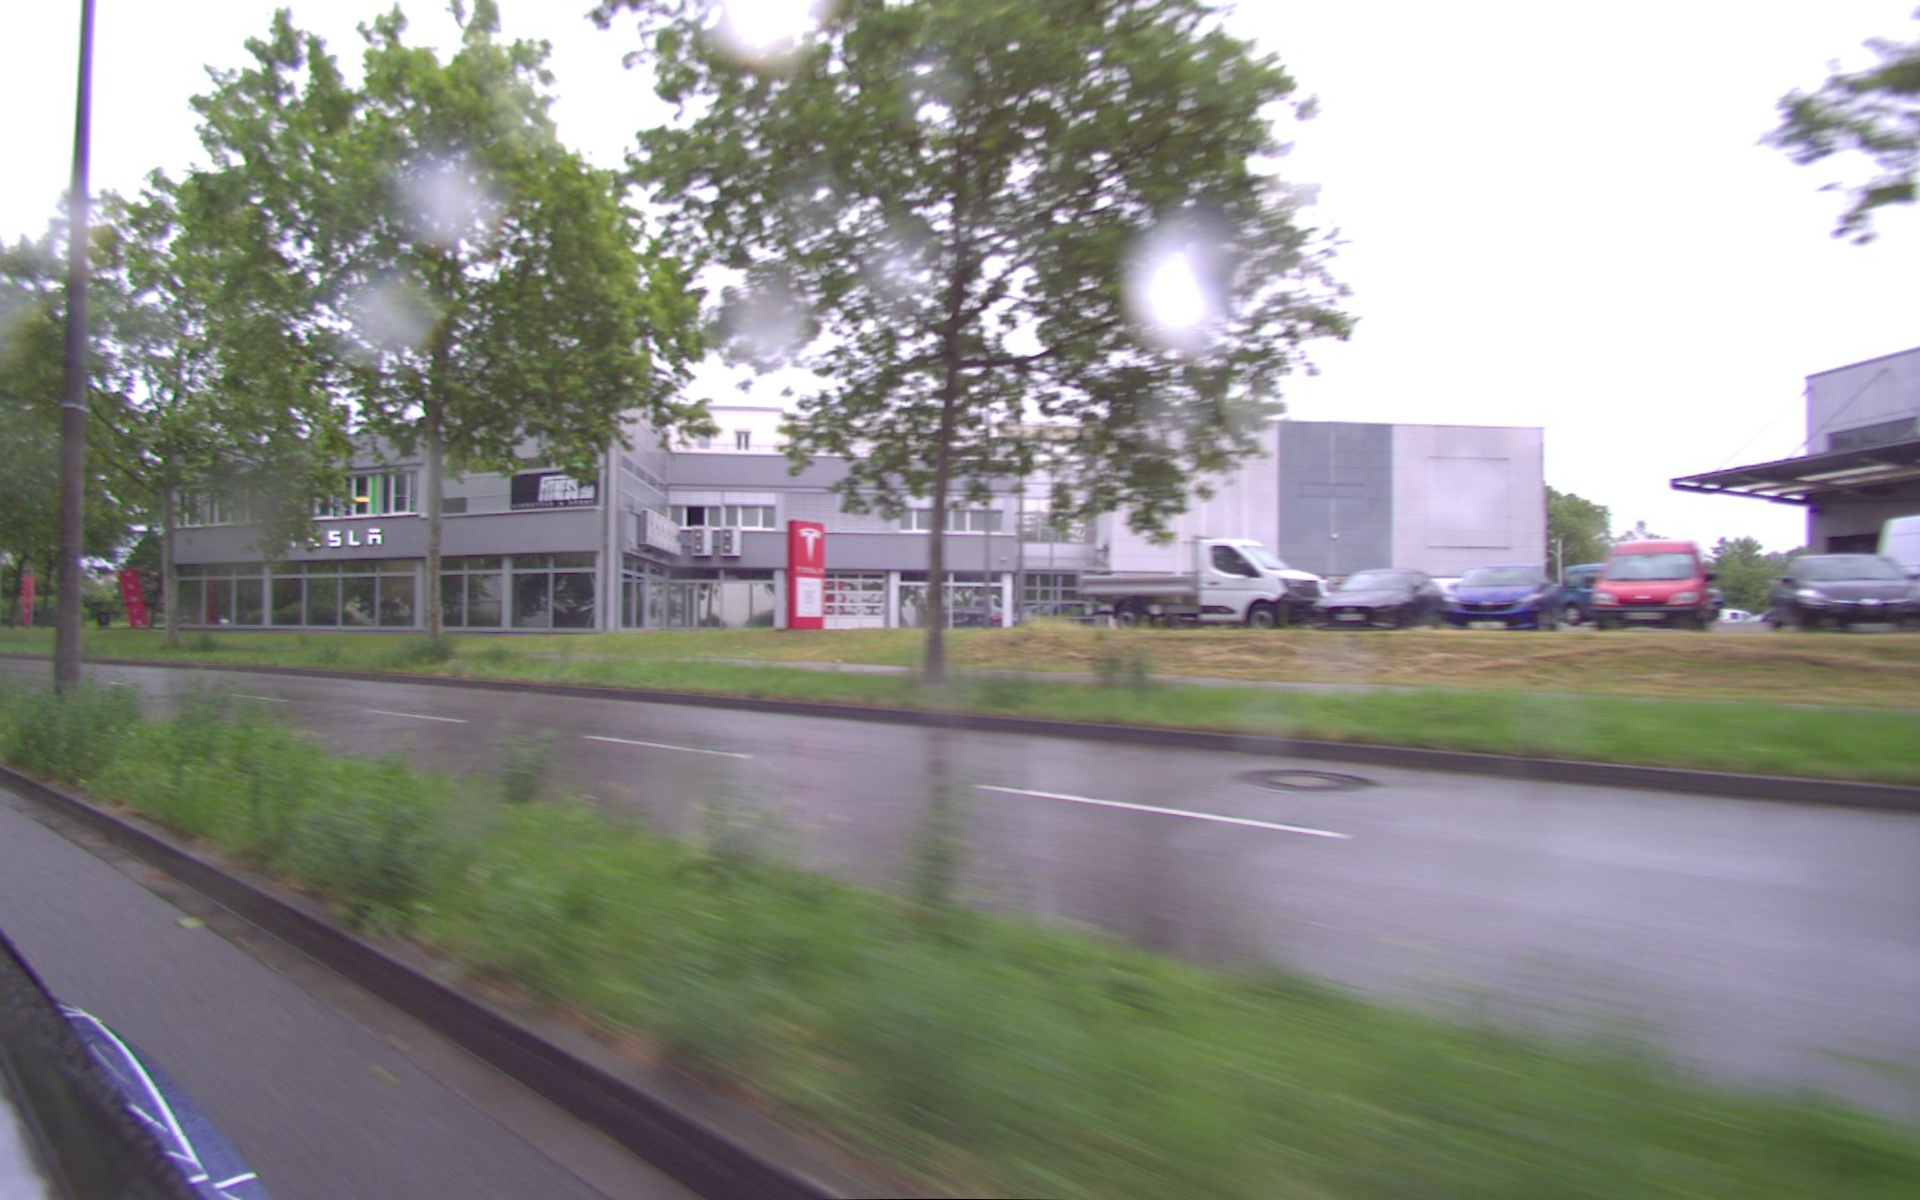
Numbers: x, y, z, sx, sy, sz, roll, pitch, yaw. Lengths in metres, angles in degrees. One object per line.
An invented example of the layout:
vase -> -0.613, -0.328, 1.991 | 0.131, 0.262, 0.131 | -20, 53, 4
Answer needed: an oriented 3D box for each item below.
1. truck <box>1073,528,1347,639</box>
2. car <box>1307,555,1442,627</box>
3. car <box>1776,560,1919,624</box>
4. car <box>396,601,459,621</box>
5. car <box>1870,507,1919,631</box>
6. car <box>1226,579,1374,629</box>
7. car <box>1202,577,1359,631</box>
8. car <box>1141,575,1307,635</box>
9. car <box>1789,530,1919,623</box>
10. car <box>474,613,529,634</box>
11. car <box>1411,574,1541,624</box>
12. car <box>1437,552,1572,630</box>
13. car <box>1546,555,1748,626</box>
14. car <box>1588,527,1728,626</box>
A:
truck -> 6.076, -0.342, 25.180 | 6.188, 2.362, 2.225 | -3, 1, 39
car -> 8.911, -0.216, 21.622 | 1.766, 1.336, 3.490 | -3, 1, 38
car -> 27.009, -0.240, 29.664 | 1.790, 1.777, 4.666 | -2, 0, -13
car -> -51.565, 1.065, 98.089 | 5.153, 1.878, 1.795 | 0, -1, -3
car -> 24.044, -0.759, 22.974 | 5.252, 2.773, 2.176 | -2, 0, -10
car -> 10.789, 0.136, 32.231 | 4.143, 1.407, 1.749 | -3, -1, 32
car -> 9.553, 0.144, 30.244 | 4.143, 1.407, 1.749 | -3, -1, 32
car -> 7.383, 0.157, 28.441 | 4.143, 1.478, 1.749 | -3, -1, 32
car -> 15.321, -0.438, 17.125 | 1.845, 1.367, 3.958 | -3, 1, 38
car -> -41.208, 2.059, 90.970 | 4.137, 1.827, 1.822 | 1, -1, -39
car -> 20.148, -0.009, 39.664 | 1.739, 1.741, 4.168 | -2, -1, -34
car -> 10.860, -0.210, 20.068 | 1.766, 1.336, 3.490 | -3, 1, 38
car -> 19.062, -0.246, 28.386 | 1.790, 1.777, 4.666 | -2, 0, -13
car -> 12.894, -0.451, 18.589 | 1.845, 1.568, 3.958 | -3, 1, 38
